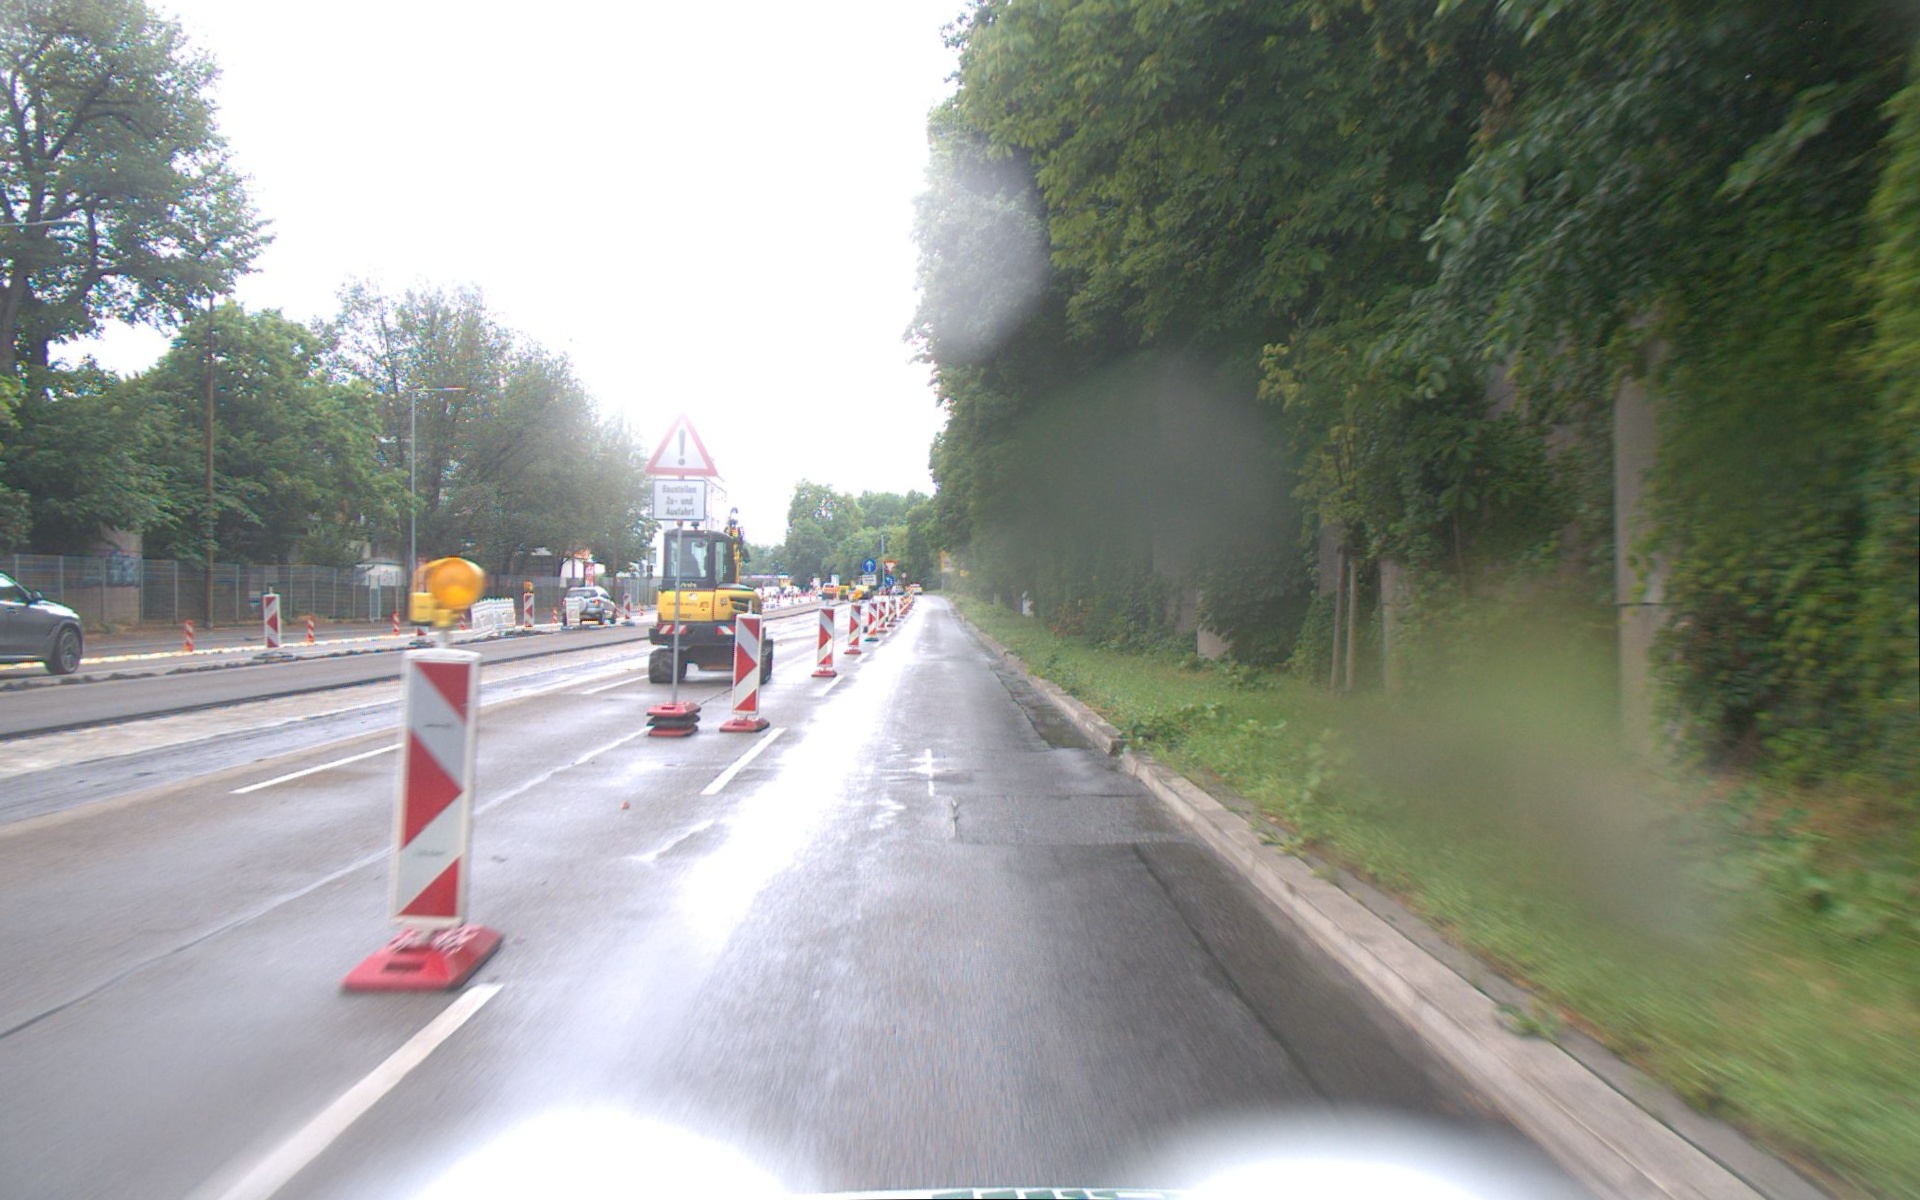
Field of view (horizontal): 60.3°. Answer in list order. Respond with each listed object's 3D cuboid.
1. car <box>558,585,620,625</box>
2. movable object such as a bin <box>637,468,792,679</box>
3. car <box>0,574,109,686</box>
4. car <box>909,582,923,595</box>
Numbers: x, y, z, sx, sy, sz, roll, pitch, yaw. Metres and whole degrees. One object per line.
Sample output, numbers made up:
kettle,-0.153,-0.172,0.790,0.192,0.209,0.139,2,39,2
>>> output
car,-15.964,0.212,71.433,1.817,1.677,3.999,1,0,-1
movable object such as a bin,-4.310,-0.428,30.000,1.953,3.426,5.981,1,0,-1
car,-15.132,0.431,24.983,2.034,1.641,5.054,1,0,-2
car,-6.016,-1.587,226.702,1.953,1.702,3.999,1,0,-1
